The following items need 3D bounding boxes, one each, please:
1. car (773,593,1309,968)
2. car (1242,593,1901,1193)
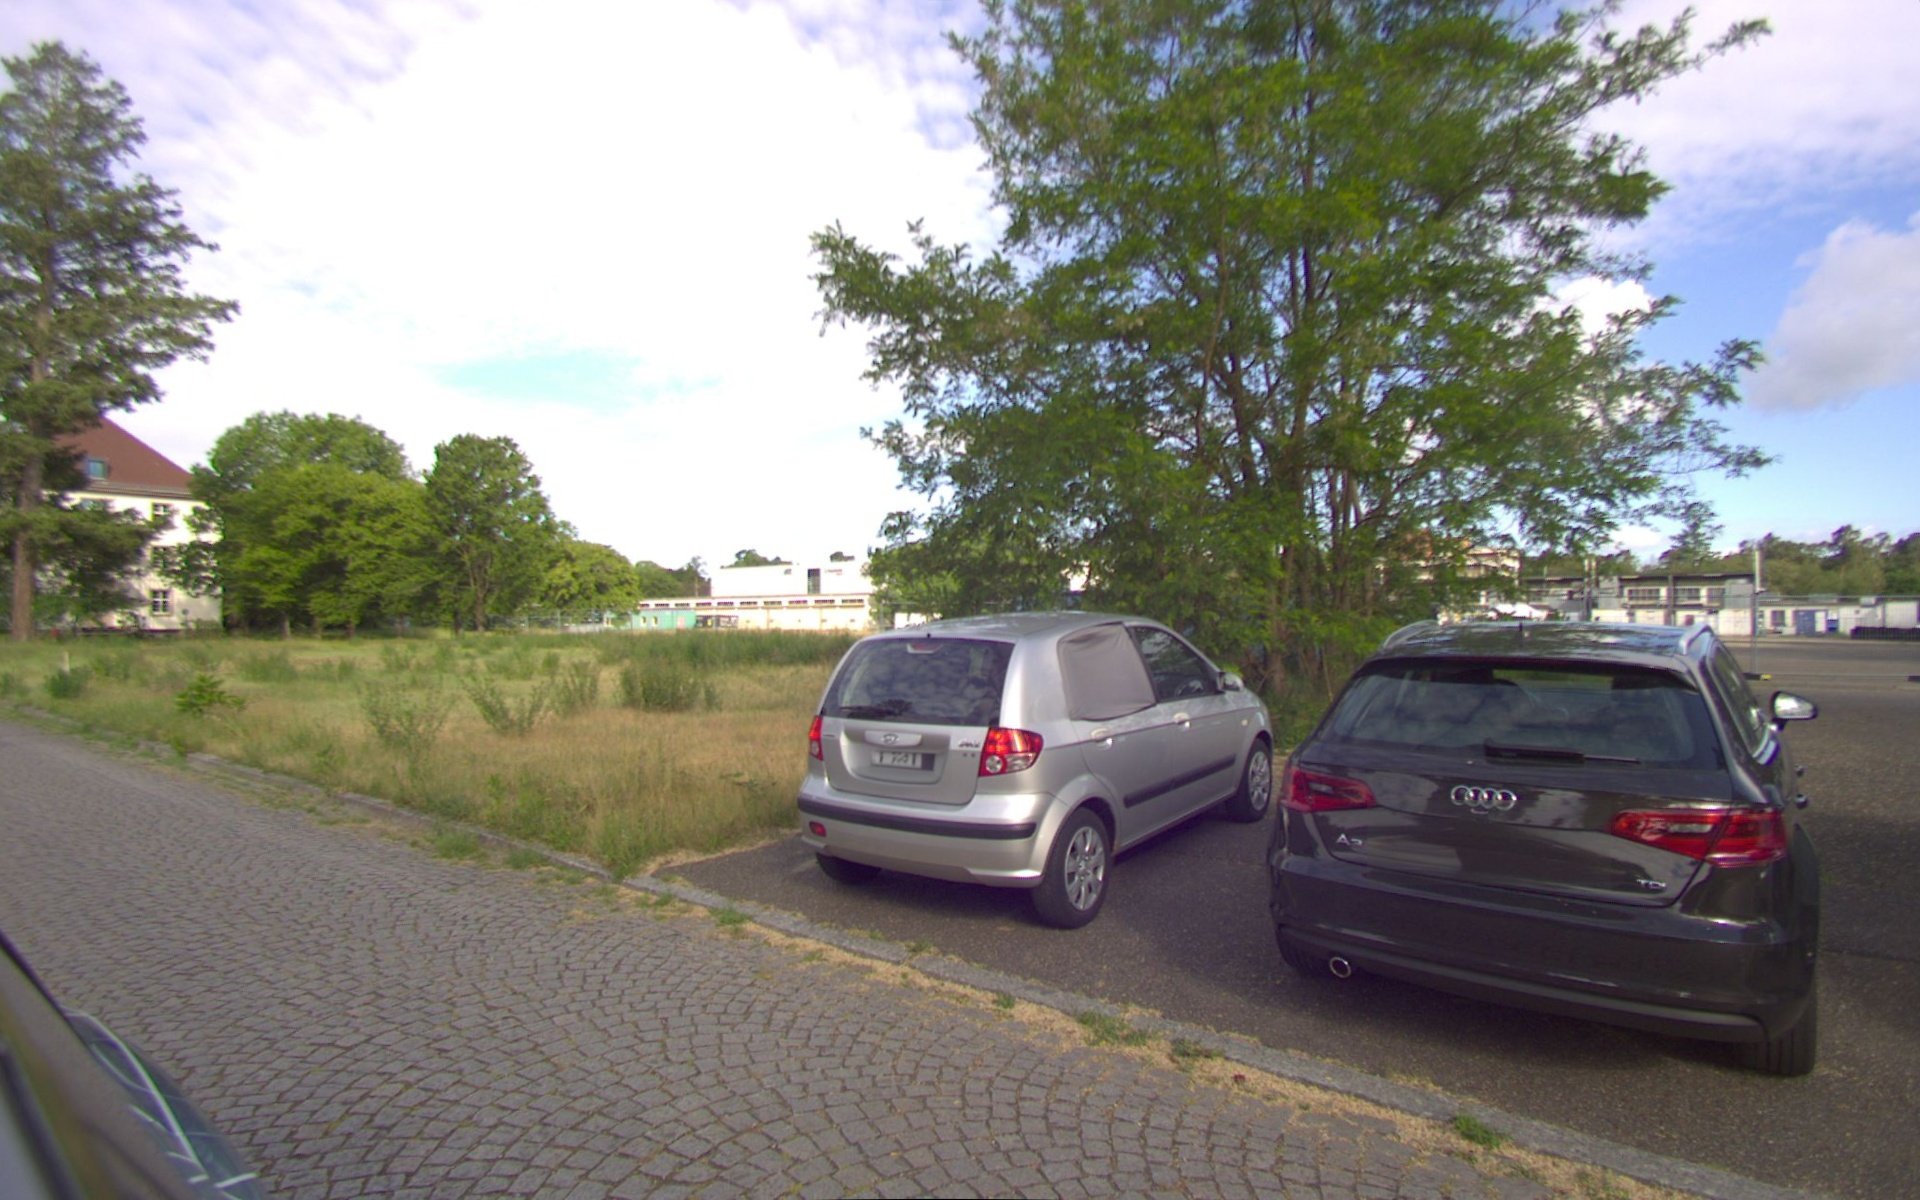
[{"bbox_3d":[0.748,0.762,6.181,1.644,1.486,3.545,-1,1,36],"label":"car"},{"bbox_3d":[2.842,0.741,4.573,1.693,1.419,3.800,-1,1,38],"label":"car"}]
